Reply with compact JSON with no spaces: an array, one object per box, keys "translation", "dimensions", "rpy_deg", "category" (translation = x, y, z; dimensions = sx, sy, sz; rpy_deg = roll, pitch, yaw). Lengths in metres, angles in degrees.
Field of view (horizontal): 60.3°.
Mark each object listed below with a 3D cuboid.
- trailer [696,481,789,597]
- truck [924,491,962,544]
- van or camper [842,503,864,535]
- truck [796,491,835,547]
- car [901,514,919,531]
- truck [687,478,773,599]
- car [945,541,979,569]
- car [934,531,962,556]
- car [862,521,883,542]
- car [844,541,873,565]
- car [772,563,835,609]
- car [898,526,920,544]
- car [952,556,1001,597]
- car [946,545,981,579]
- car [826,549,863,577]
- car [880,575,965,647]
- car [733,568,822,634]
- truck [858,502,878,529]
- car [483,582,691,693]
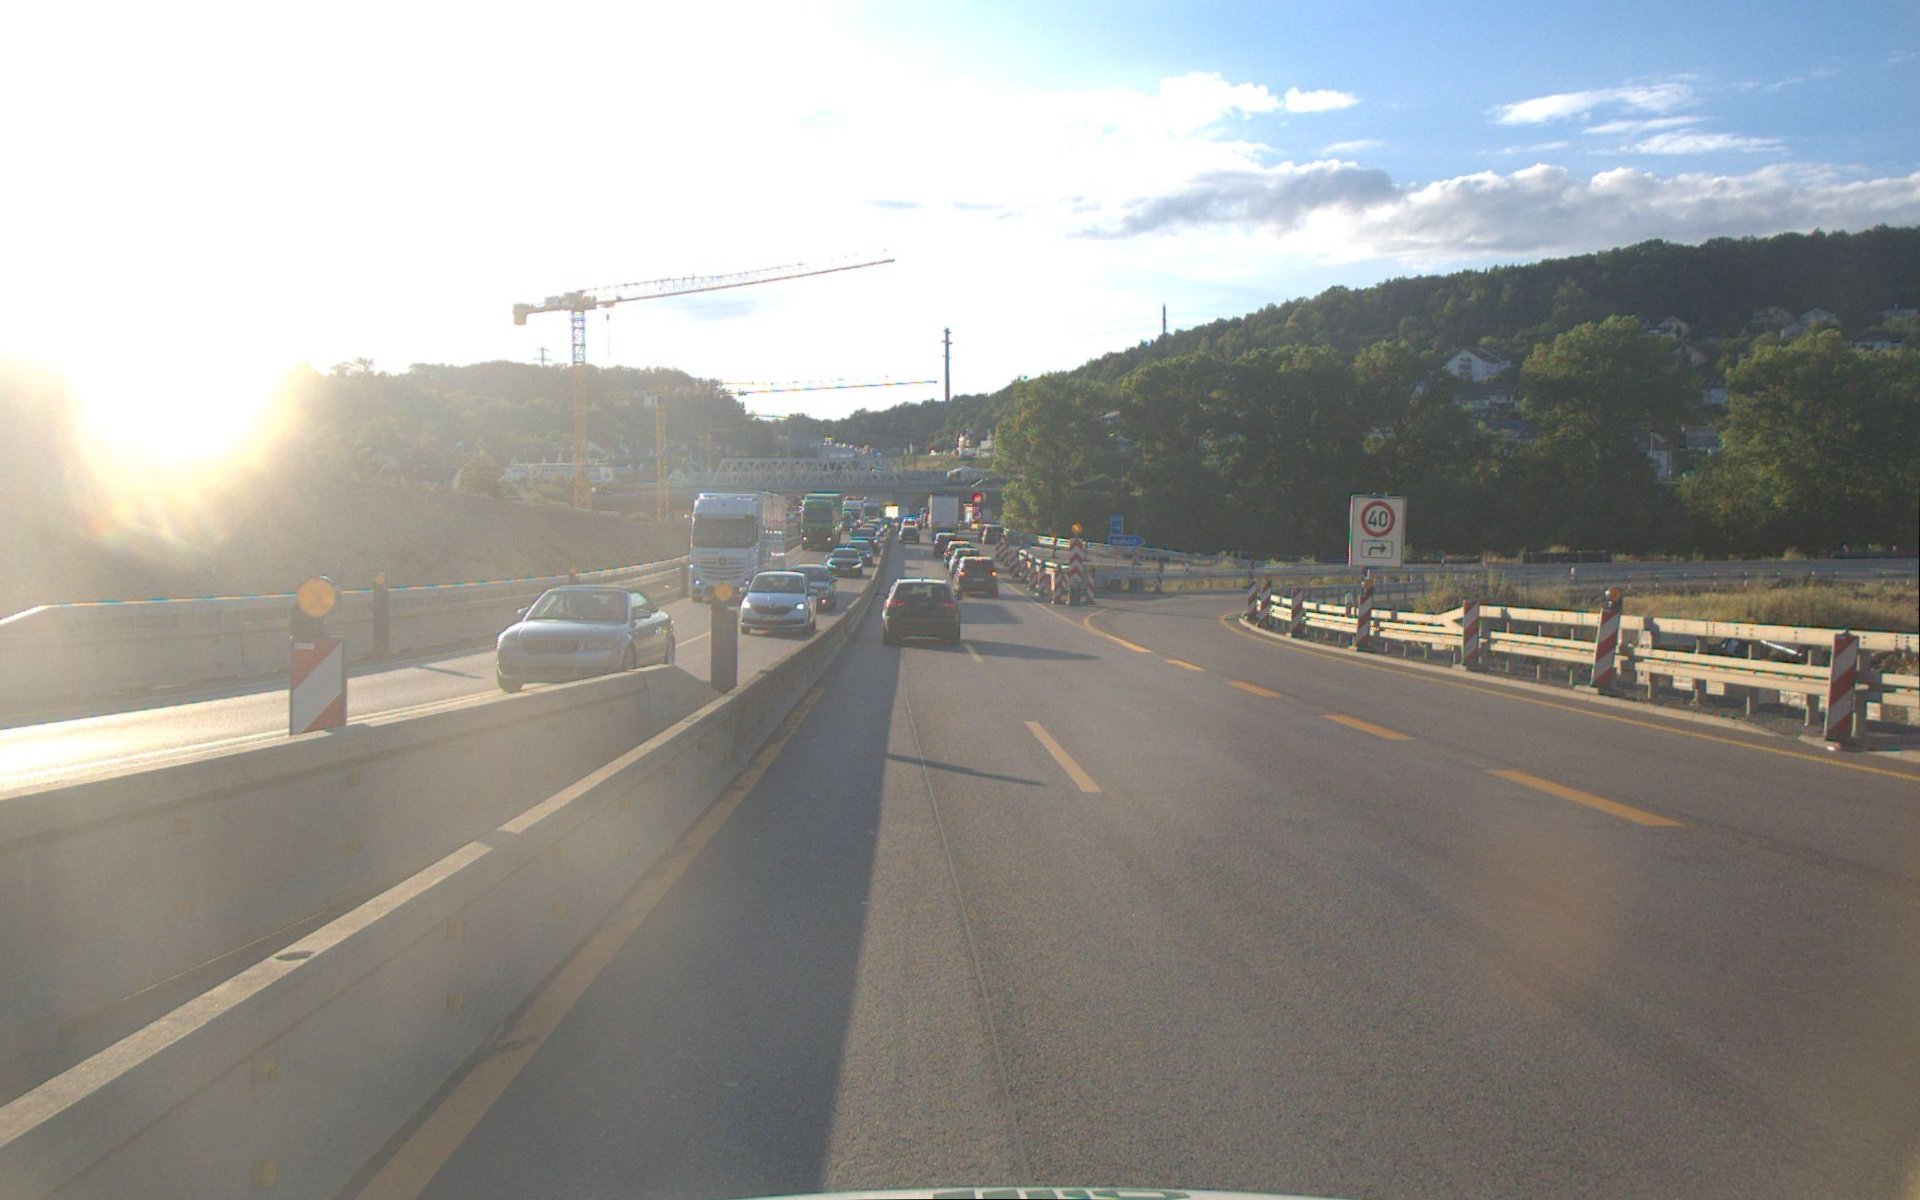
[{"translation":[-8.899,-2.423,69.094],"dimensions":[2.480,4.286,13.929],"rpy_deg":[2,1,-2],"category":"trailer"},{"translation":[-1.741,-8.039,158.605],"dimensions":[3.317,4.574,15.271],"rpy_deg":[1,5,-2],"category":"truck"},{"translation":[-12.386,-9.442,192.183],"dimensions":[2.408,3.558,7.413],"rpy_deg":[0,4,-2],"category":"van or camper"},{"translation":[-10.969,-6.170,126.092],"dimensions":[2.714,4.151,5.774],"rpy_deg":[1,3,-3],"category":"truck"},{"translation":[-5.418,-8.398,180.099],"dimensions":[1.884,1.579,3.999],"rpy_deg":[1,-1,-1],"category":"car"},{"translation":[-8.667,-2.293,62.920],"dimensions":[2.501,4.294,6.048],"rpy_deg":[2,1,-2],"category":"truck"},{"translation":[0.104,-2.773,100.946],"dimensions":[1.838,1.627,4.964],"rpy_deg":[0,2,-3],"category":"car"},{"translation":[-0.852,-4.021,116.776],"dimensions":[1.778,1.660,4.410],"rpy_deg":[1,3,-3],"category":"car"},{"translation":[-8.541,-6.695,161.989],"dimensions":[1.953,1.825,3.999],"rpy_deg":[2,1,-2],"category":"car"},{"translation":[-6.342,-2.932,103.462],"dimensions":[1.681,1.434,4.326],"rpy_deg":[0,2,-2],"category":"car"},{"translation":[-5.318,-0.499,56.720],"dimensions":[1.812,1.509,4.510],"rpy_deg":[0,1,-1],"category":"car"},{"translation":[-4.340,-5.573,141.565],"dimensions":[1.825,1.444,4.000],"rpy_deg":[1,2,-1],"category":"car"},{"translation":[0.663,-0.995,70.226],"dimensions":[1.776,1.643,4.523],"rpy_deg":[1,0,-3],"category":"car"},{"translation":[0.163,-2.056,88.092],"dimensions":[1.738,1.613,4.135],"rpy_deg":[1,3,-1],"category":"car"},{"translation":[-6.177,-2.022,88.623],"dimensions":[1.799,1.434,4.494],"rpy_deg":[0,2,-2],"category":"car"},{"translation":[-0.886,0.203,37.226],"dimensions":[1.735,1.414,3.998],"rpy_deg":[1,2,-4],"category":"car"},{"translation":[-4.483,0.012,41.111],"dimensions":[1.752,1.514,4.219],"rpy_deg":[1,0,-1],"category":"car"},{"translation":[-14.336,-13.208,257.802],"dimensions":[2.757,4.118,5.673],"rpy_deg":[0,3,-1],"category":"truck"},{"translation":[-5.145,0.466,23.454],"dimensions":[1.752,1.381,4.636],"rpy_deg":[1,0,1],"category":"car"}]
